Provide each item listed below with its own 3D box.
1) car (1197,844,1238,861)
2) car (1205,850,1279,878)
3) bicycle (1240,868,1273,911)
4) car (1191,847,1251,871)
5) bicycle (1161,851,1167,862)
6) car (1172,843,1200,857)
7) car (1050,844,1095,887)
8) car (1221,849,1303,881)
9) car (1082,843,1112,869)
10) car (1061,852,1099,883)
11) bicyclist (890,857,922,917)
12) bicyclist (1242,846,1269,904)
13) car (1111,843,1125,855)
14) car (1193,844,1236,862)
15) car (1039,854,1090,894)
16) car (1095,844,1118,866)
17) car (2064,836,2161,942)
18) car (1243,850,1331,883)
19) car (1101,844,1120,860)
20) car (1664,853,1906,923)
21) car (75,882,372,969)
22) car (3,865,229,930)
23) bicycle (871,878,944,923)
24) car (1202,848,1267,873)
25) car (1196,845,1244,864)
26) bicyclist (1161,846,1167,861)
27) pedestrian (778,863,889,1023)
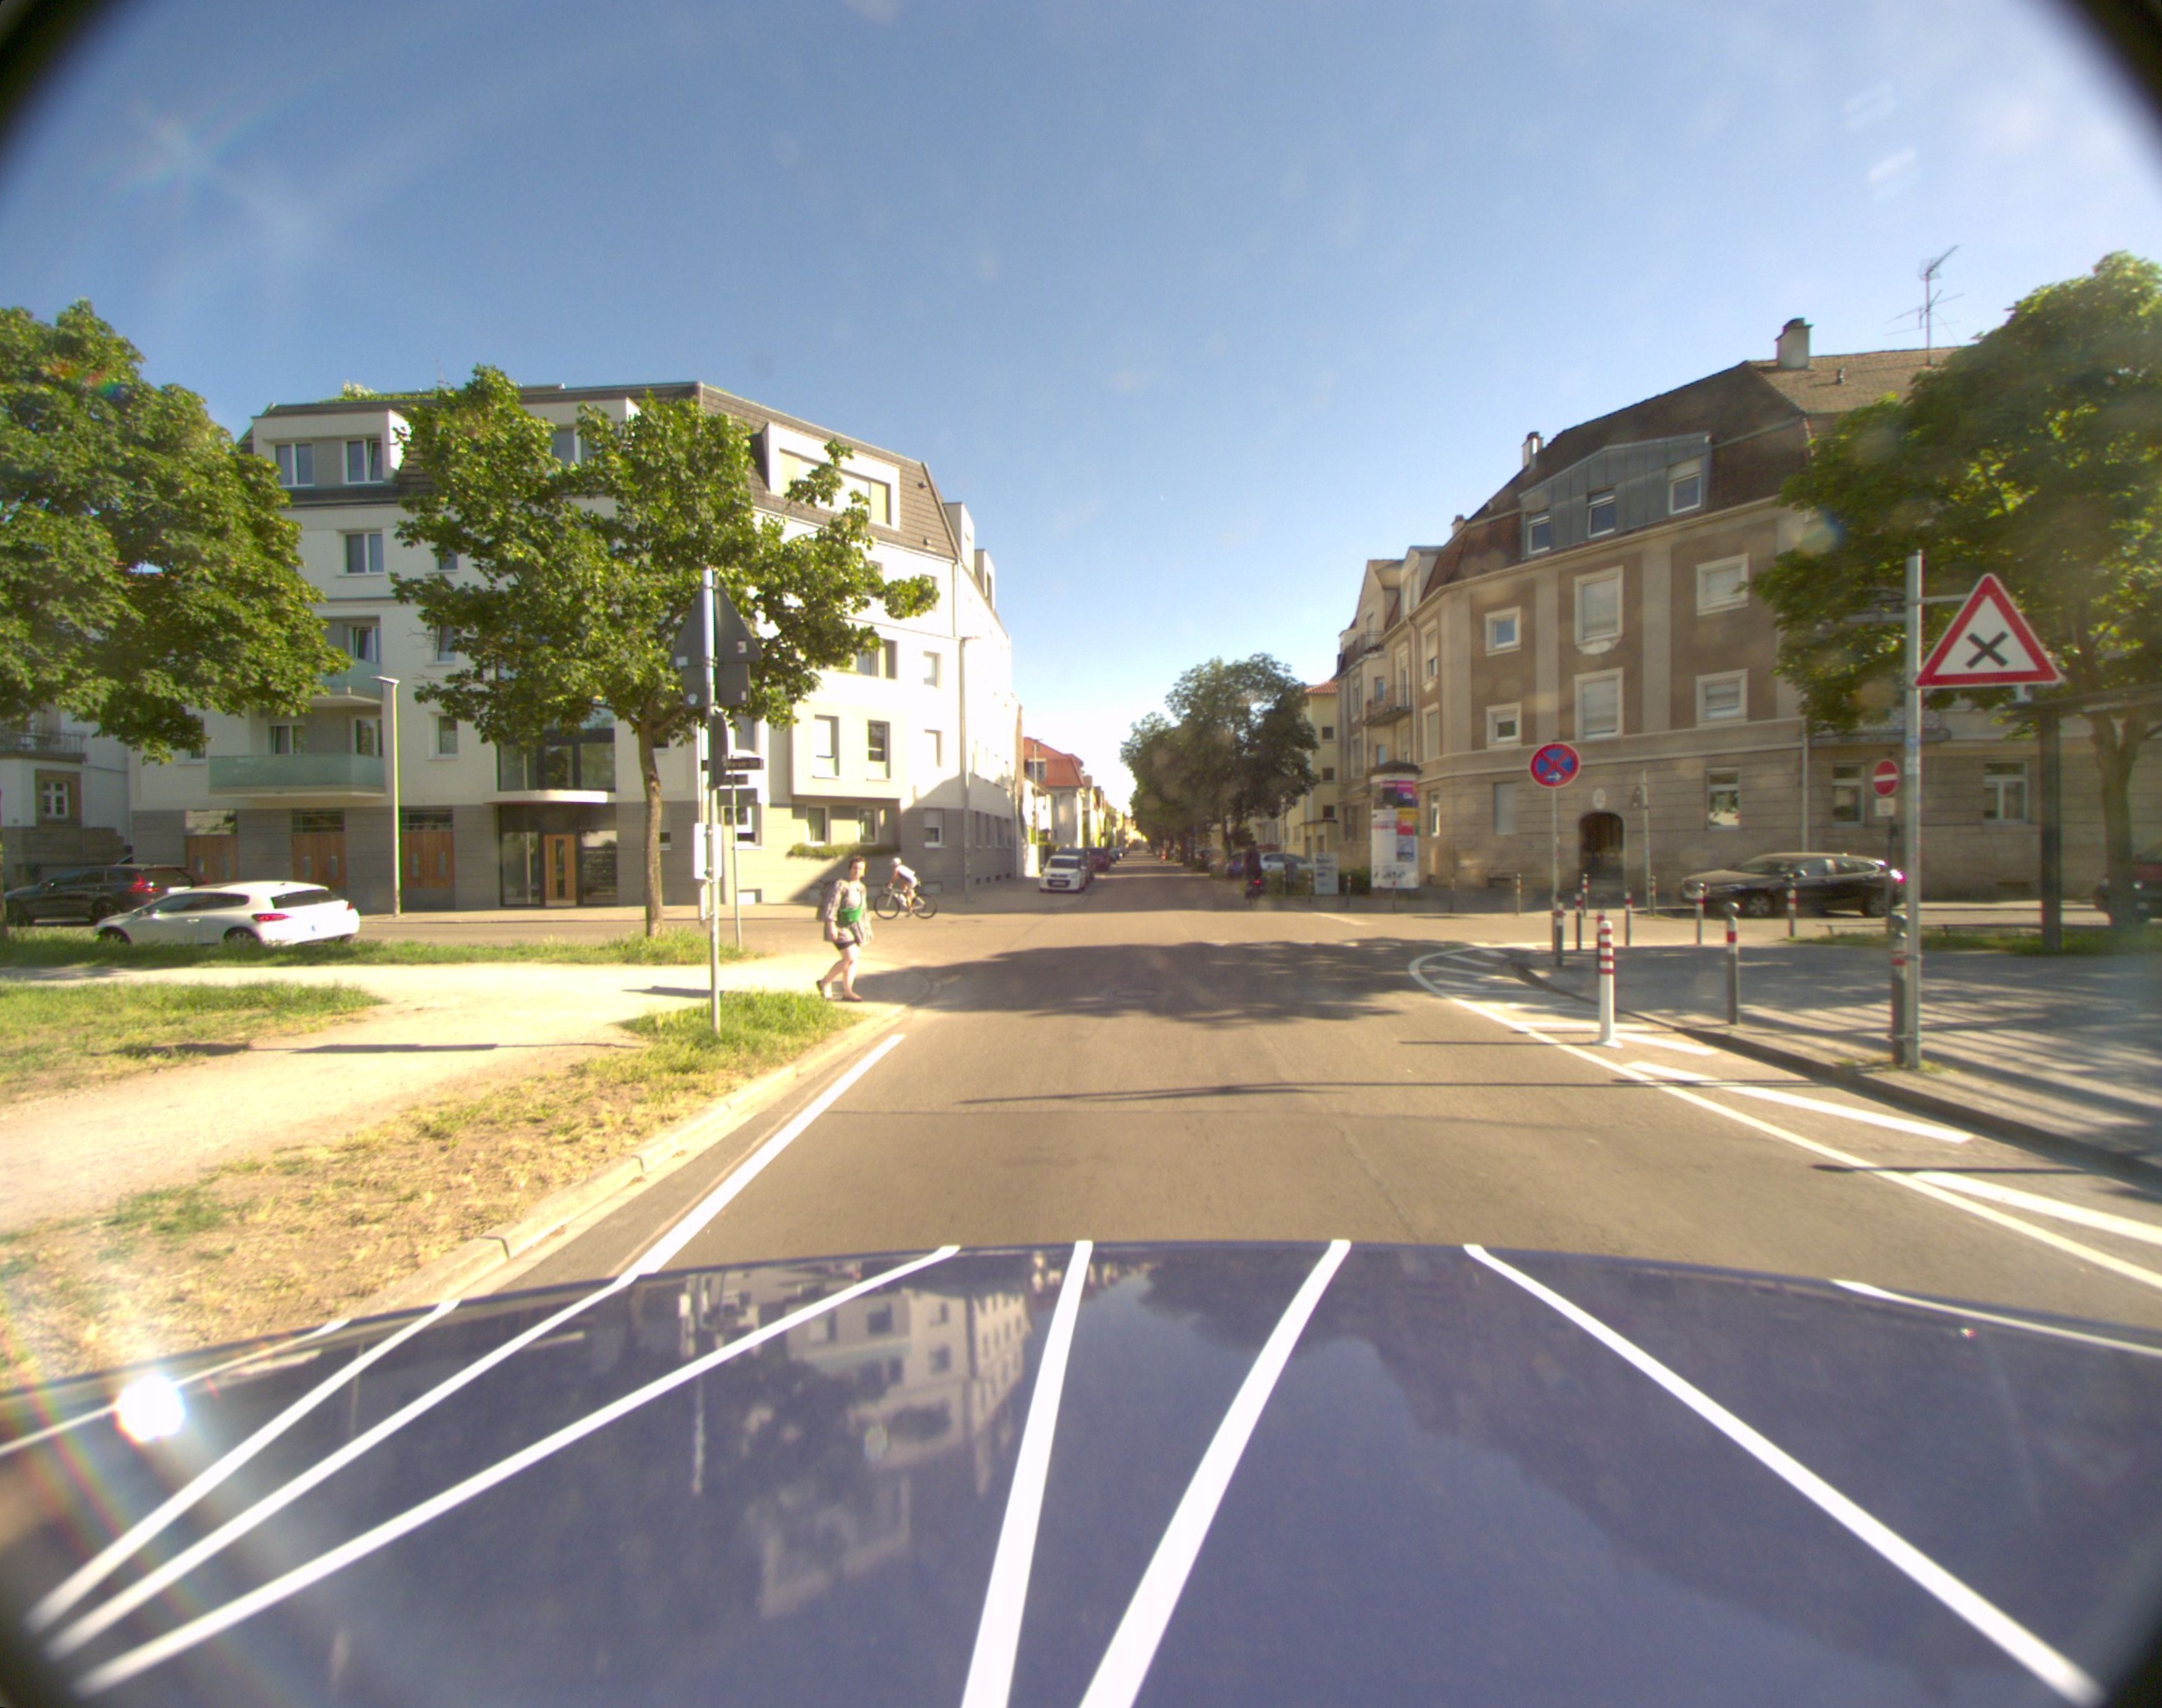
[{"bbox_3d":[12.937,-0.185,71.969,3.528,1.486,1.692,-2,1,-1],"label":"car"},{"bbox_3d":[9.298,0.546,44.051,3.791,1.486,1.691,-2,1,-9],"label":"car"},{"bbox_3d":[4.955,0.980,21.593,0.644,1.102,2.066,0,1,5],"label":"bicycle"},{"bbox_3d":[9.782,0.339,53.214,3.791,1.486,1.691,-2,1,-9],"label":"car"},{"bbox_3d":[8.499,0.249,77.871,0.644,1.102,2.066,0,1,5],"label":"bicycle"},{"bbox_3d":[13.979,-0.548,101.427,3.527,1.693,1.692,-2,1,2],"label":"car"},{"bbox_3d":[-0.349,0.498,35.801,1.664,1.825,4.258,2,1,5],"label":"car"},{"bbox_3d":[9.232,0.556,38.861,3.788,1.486,1.692,-2,1,2],"label":"car"},{"bbox_3d":[1.242,0.129,57.539,1.883,1.860,4.402,2,1,5],"label":"car"},{"bbox_3d":[-0.009,0.691,41.200,1.664,1.533,4.067,2,1,5],"label":"car"},{"bbox_3d":[-4.384,0.820,19.046,0.687,1.456,0.497,-1,1,-3],"label":"bicyclist"},{"bbox_3d":[4.950,0.584,21.581,0.644,1.610,0.637,0,1,5],"label":"bicyclist"},{"bbox_3d":[5.585,-0.675,113.413,1.883,1.734,4.403,0,0,5],"label":"car"},{"bbox_3d":[12.134,-0.083,69.209,3.528,1.486,1.692,-2,1,-1],"label":"car"},{"bbox_3d":[-0.619,0.765,31.346,1.664,1.440,3.689,2,1,4],"label":"car"},{"bbox_3d":[2.437,0.074,71.725,1.883,1.860,4.402,2,1,5],"label":"car"},{"bbox_3d":[22.723,0.635,14.557,4.880,1.950,1.897,0,2,5],"label":"car"},{"bbox_3d":[9.877,0.581,36.626,3.788,1.436,1.692,-2,1,2],"label":"car"},{"bbox_3d":[3.410,-0.240,86.970,1.883,1.860,4.403,0,0,5],"label":"car"},{"bbox_3d":[16.879,0.792,18.384,4.011,1.476,1.867,0,4,1],"label":"car"},{"bbox_3d":[-16.814,1.378,15.036,3.990,1.426,1.739,-1,5,4],"label":"car"},{"bbox_3d":[-27.433,1.203,21.682,4.283,1.673,1.896,0,2,5],"label":"car"},{"bbox_3d":[-4.326,1.164,19.060,1.708,1.083,0.507,-1,1,-3],"label":"bicycle"},{"bbox_3d":[10.114,0.408,50.208,3.791,1.486,1.691,-2,1,-9],"label":"car"},{"bbox_3d":[11.815,0.030,64.738,3.788,1.486,1.692,-2,1,-1],"label":"car"},{"bbox_3d":[8.505,-0.023,77.957,0.644,1.557,1.043,0,1,5],"label":"bicyclist"},{"bbox_3d":[-2.771,0.953,8.638,1.091,1.664,0.912,-1,1,-13],"label":"pedestrian"}]
